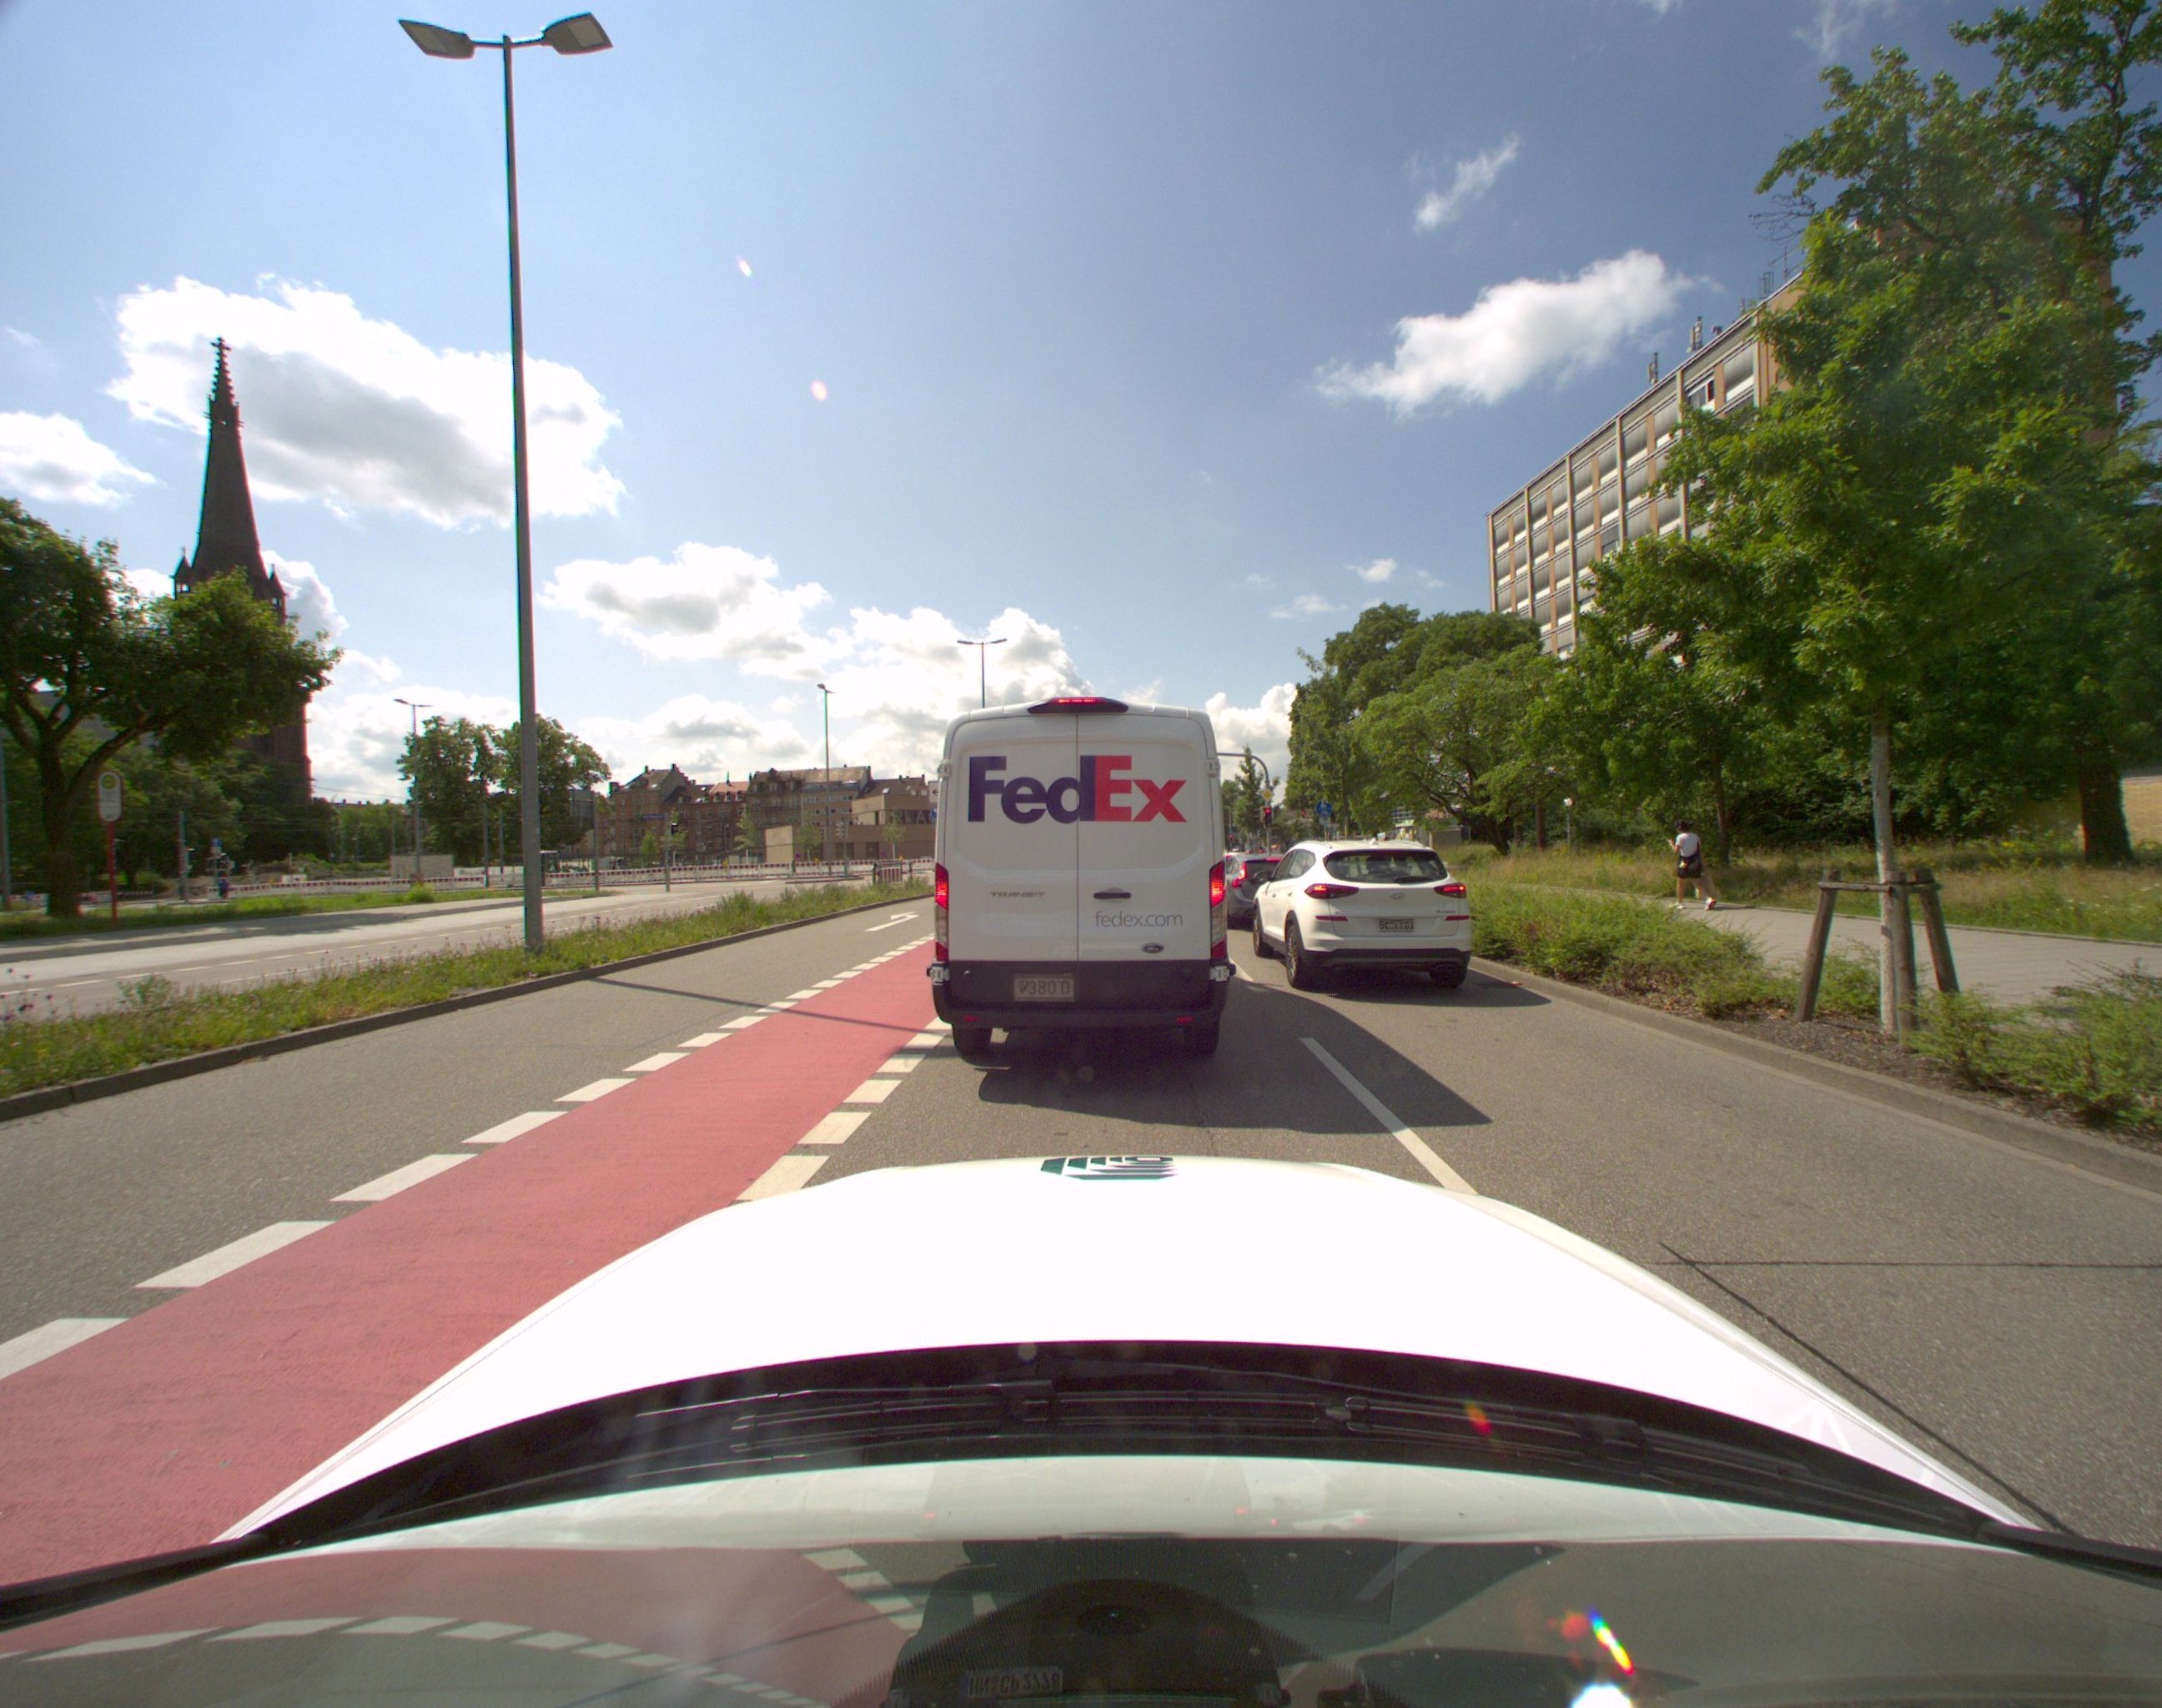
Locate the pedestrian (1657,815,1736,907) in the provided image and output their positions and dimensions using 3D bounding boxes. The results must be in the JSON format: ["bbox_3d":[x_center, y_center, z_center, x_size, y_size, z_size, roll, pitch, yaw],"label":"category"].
[{"bbox_3d":[10.841,0.122,14.371,0.755,1.557,0.817,-2,0,3],"label":"pedestrian"}]

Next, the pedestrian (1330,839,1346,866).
[{"bbox_3d":[17.668,-0.087,55.942,0.758,1.849,0.814,-2,0,-6],"label":"pedestrian"}]

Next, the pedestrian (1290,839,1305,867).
[{"bbox_3d":[14.136,-0.073,53.237,0.755,1.849,0.817,-2,0,5],"label":"pedestrian"}]

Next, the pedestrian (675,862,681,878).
[{"bbox_3d":[-43.626,1.745,88.235,0.420,1.652,0.420,-1,-1,36],"label":"pedestrian"}]

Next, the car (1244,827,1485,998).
[{"bbox_3d":[3.258,0.578,10.214,1.807,1.678,3.978,-2,0,3],"label":"car"}]

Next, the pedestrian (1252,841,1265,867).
[{"bbox_3d":[13.065,0.014,59.848,0.810,1.849,0.762,-2,0,5],"label":"pedestrian"}]

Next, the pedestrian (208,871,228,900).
[{"bbox_3d":[-60.238,2.185,56.855,0.644,2.013,0.632,-2,0,-1],"label":"pedestrian"}]

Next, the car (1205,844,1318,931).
[{"bbox_3d":[3.591,0.607,16.793,1.684,1.549,3.724,-2,0,3],"label":"car"}]

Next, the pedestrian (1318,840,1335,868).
[{"bbox_3d":[16.768,-0.022,55.673,0.758,1.849,0.814,-2,0,-8],"label":"pedestrian"}]

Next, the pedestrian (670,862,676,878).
[{"bbox_3d":[-44.284,1.752,88.477,0.420,1.652,0.420,-1,-1,36],"label":"pedestrian"}]

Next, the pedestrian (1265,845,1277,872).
[{"bbox_3d":[13.717,0.318,58.891,0.753,1.849,0.820,-2,0,16],"label":"pedestrian"}]

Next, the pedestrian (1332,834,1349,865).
[{"bbox_3d":[15.286,-0.290,47.973,0.754,1.789,0.818,-2,0,8],"label":"pedestrian"}]

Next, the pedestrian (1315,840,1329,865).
[{"bbox_3d":[18.202,-0.083,61.534,0.756,1.849,0.816,-2,0,-1],"label":"pedestrian"}]

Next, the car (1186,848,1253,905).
[{"bbox_3d":[3.909,0.578,23.376,1.493,1.464,3.477,-2,0,3],"label":"car"}]

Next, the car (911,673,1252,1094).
[{"bbox_3d":[0.129,0.178,7.323,2.064,2.581,4.432,-2,0,3],"label":"car"}]

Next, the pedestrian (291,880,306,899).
[{"bbox_3d":[-73.569,3.326,76.571,0.860,1.663,0.745,-2,0,-29],"label":"pedestrian"}]

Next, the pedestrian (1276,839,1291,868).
[{"bbox_3d":[13.207,-0.012,53.049,0.755,1.849,0.817,-2,0,3],"label":"pedestrian"}]

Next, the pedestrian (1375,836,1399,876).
[{"bbox_3d":[13.036,0.069,34.721,0.755,1.655,0.817,-2,0,5],"label":"pedestrian"}]

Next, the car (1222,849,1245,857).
[{"bbox_3d":[29.615,-0.161,158.245,4.217,1.498,1.741,-2,0,1],"label":"car"}]
